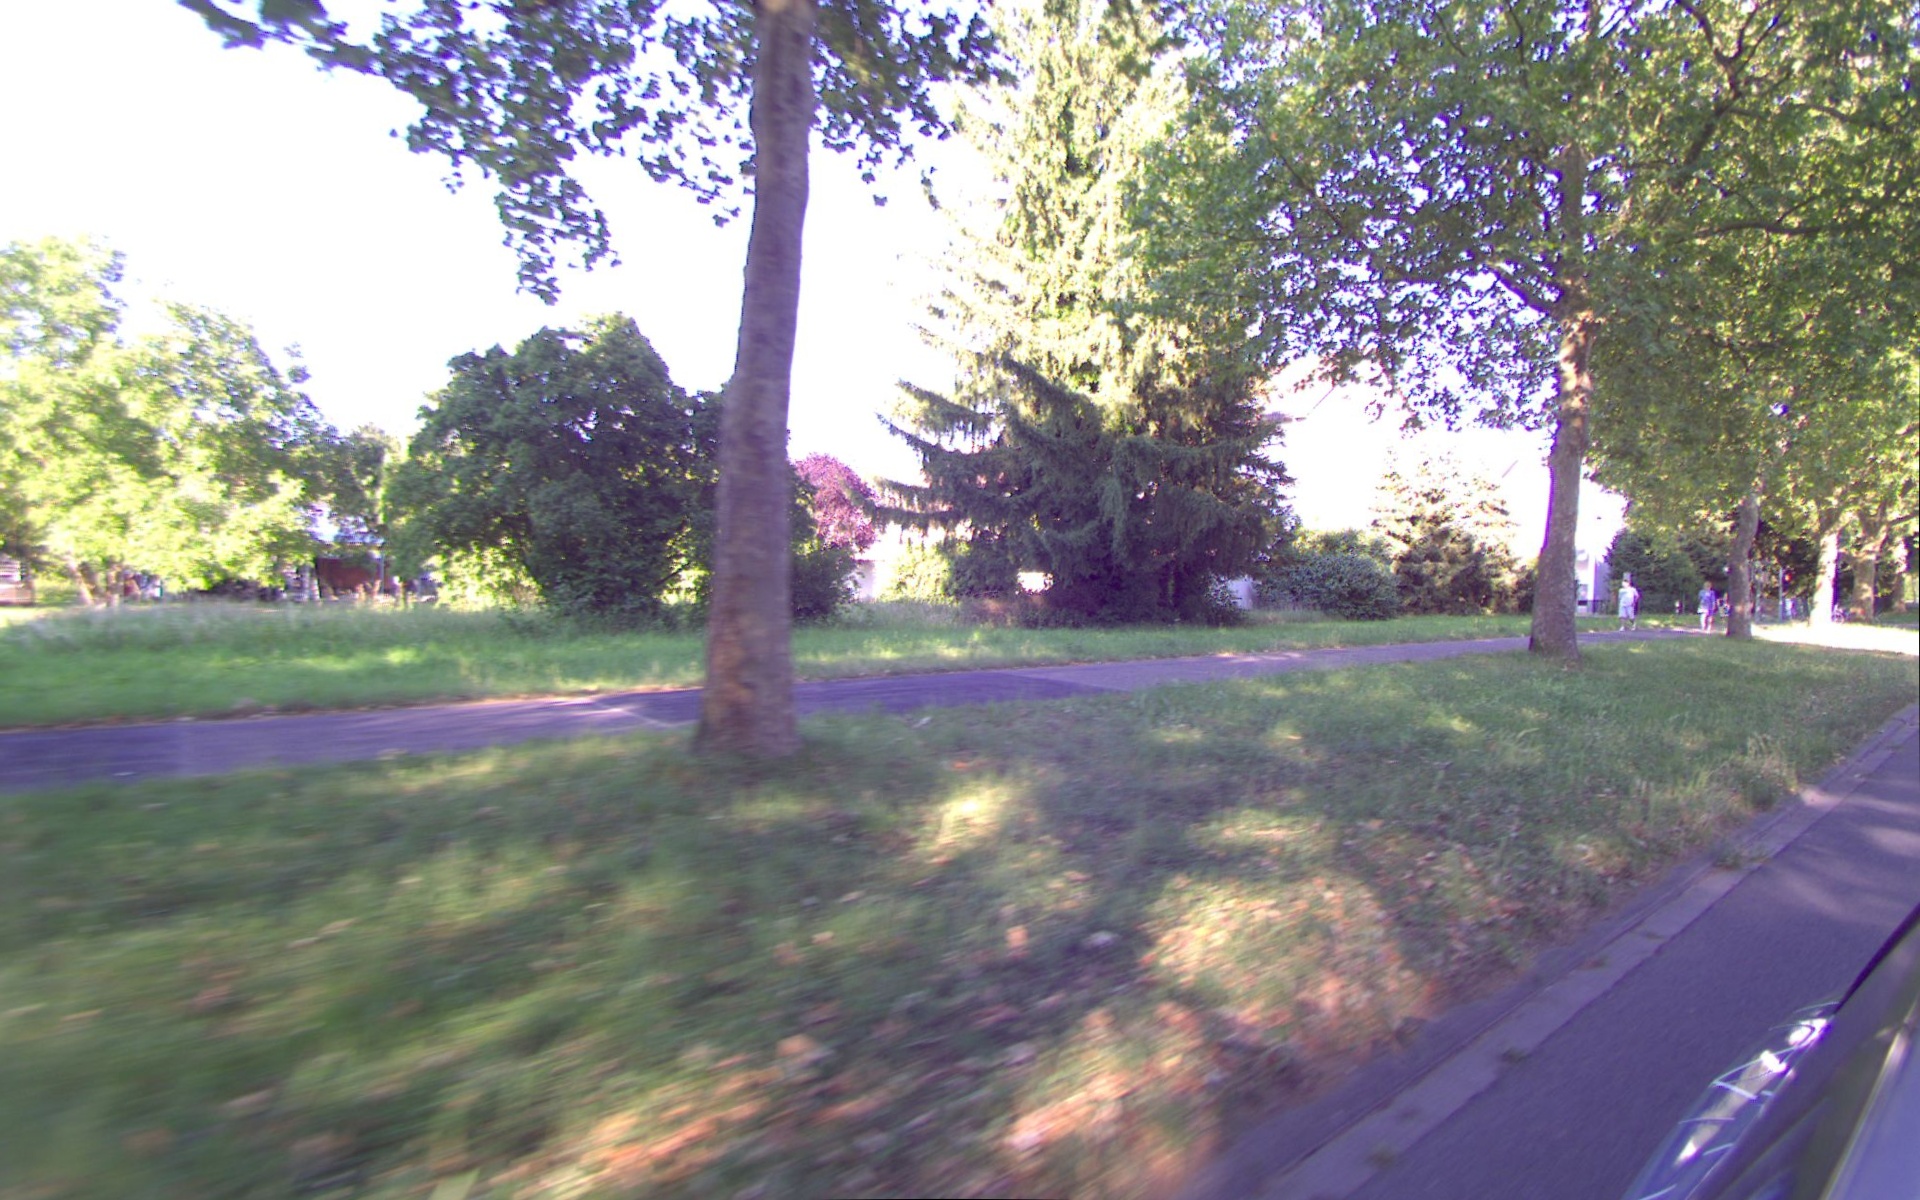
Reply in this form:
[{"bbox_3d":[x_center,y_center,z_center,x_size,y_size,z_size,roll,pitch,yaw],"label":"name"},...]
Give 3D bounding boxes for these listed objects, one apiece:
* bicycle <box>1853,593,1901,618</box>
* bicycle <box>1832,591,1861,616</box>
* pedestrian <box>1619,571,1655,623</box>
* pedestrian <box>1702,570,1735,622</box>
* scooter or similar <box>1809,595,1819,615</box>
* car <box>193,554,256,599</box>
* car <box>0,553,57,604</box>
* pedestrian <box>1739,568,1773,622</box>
[{"bbox_3d":[42.509,0.247,46.920,0.437,1.048,1.723,3,1,-9],"label":"bicycle"},{"bbox_3d":[41.097,0.150,46.949,0.442,1.096,1.990,3,1,25],"label":"bicycle"},{"bbox_3d":[22.465,-0.110,33.581,0.923,1.670,0.780,0,2,-43],"label":"pedestrian"},{"bbox_3d":[27.545,-0.144,36.758,0.788,1.870,0.756,0,1,-40],"label":"pedestrian"},{"bbox_3d":[52.818,0.332,62.570,0.382,1.211,1.235,0,0,44],"label":"scooter or similar"},{"bbox_3d":[-35.255,-1.136,48.622,1.960,2.038,4.004,-2,1,-30],"label":"car"},{"bbox_3d":[-37.880,-0.841,40.413,1.896,1.972,4.004,-2,1,-30],"label":"car"},{"bbox_3d":[28.179,-0.194,35.819,0.773,1.869,0.763,0,1,-40],"label":"pedestrian"}]
